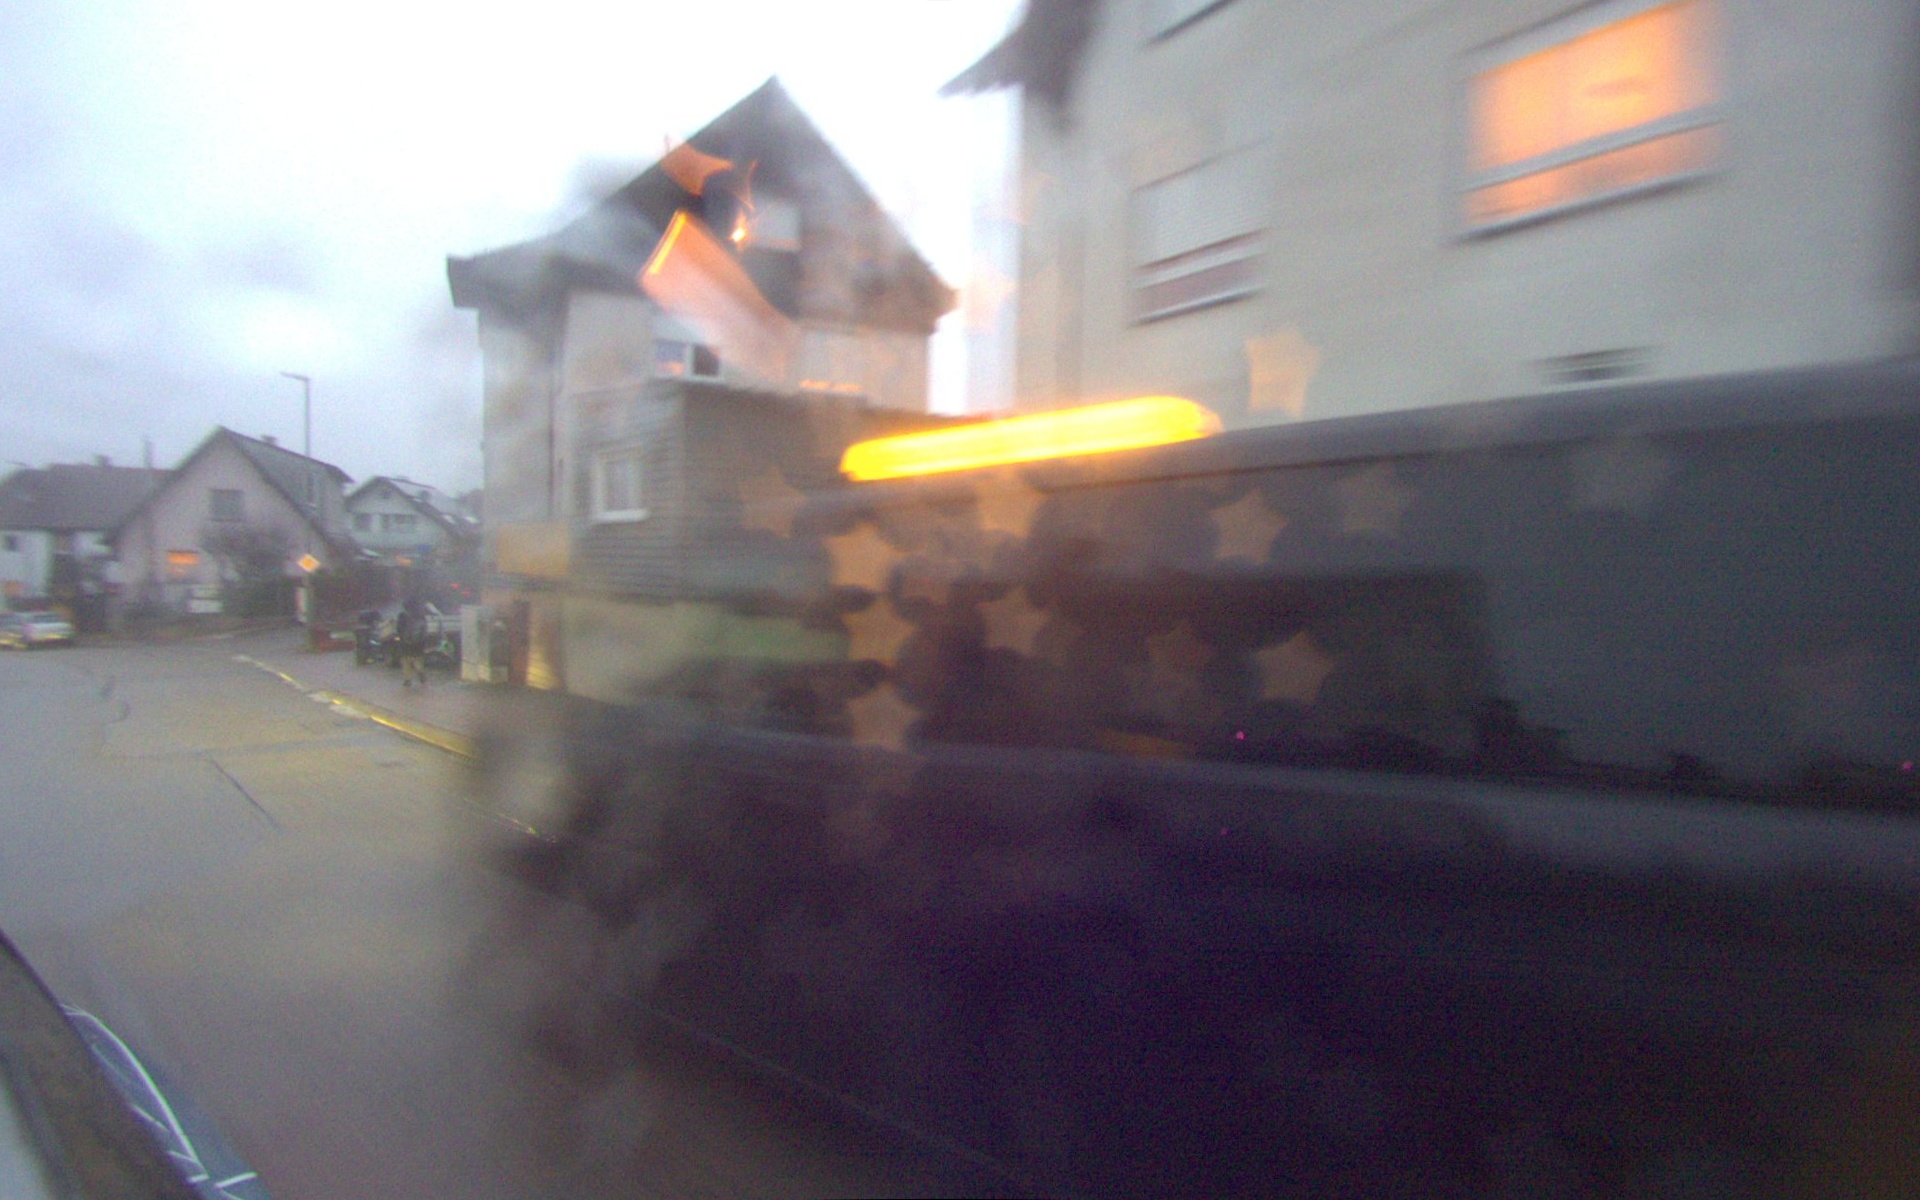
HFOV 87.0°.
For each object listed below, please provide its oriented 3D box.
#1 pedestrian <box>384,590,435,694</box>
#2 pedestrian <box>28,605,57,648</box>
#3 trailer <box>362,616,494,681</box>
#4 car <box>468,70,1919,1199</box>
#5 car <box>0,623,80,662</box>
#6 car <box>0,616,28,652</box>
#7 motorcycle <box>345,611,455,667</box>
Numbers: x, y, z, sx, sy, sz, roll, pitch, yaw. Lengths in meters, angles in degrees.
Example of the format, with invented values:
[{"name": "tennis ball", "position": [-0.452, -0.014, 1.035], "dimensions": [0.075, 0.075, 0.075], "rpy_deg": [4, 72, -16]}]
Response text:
[{"name": "pedestrian", "position": [-9.657, 0.711, 17.752], "dimensions": [0.590, 1.745, 0.813], "rpy_deg": [-2, 2, -40]}, {"name": "pedestrian", "position": [-39.554, 1.134, 43.637], "dimensions": [0.810, 1.792, 0.700], "rpy_deg": [0, 2, 35]}, {"name": "trailer", "position": [-12.411, 1.039, 23.435], "dimensions": [2.031, 1.177, 4.880], "rpy_deg": [-3, 2, -36]}, {"name": "car", "position": [0.841, 0.488, 2.599], "dimensions": [4.981, 2.042, 2.088], "rpy_deg": [-1, -1, 42]}, {"name": "car", "position": [-37.232, 1.678, 40.526], "dimensions": [4.130, 1.399, 1.737], "rpy_deg": [-1, 1, 30]}, {"name": "car", "position": [-42.006, 1.482, 43.450], "dimensions": [4.052, 1.451, 1.811], "rpy_deg": [-1, 1, 30]}, {"name": "motorcycle", "position": [-14.317, 0.986, 25.947], "dimensions": [2.204, 1.308, 1.058], "rpy_deg": [-2, 1, -5]}]
